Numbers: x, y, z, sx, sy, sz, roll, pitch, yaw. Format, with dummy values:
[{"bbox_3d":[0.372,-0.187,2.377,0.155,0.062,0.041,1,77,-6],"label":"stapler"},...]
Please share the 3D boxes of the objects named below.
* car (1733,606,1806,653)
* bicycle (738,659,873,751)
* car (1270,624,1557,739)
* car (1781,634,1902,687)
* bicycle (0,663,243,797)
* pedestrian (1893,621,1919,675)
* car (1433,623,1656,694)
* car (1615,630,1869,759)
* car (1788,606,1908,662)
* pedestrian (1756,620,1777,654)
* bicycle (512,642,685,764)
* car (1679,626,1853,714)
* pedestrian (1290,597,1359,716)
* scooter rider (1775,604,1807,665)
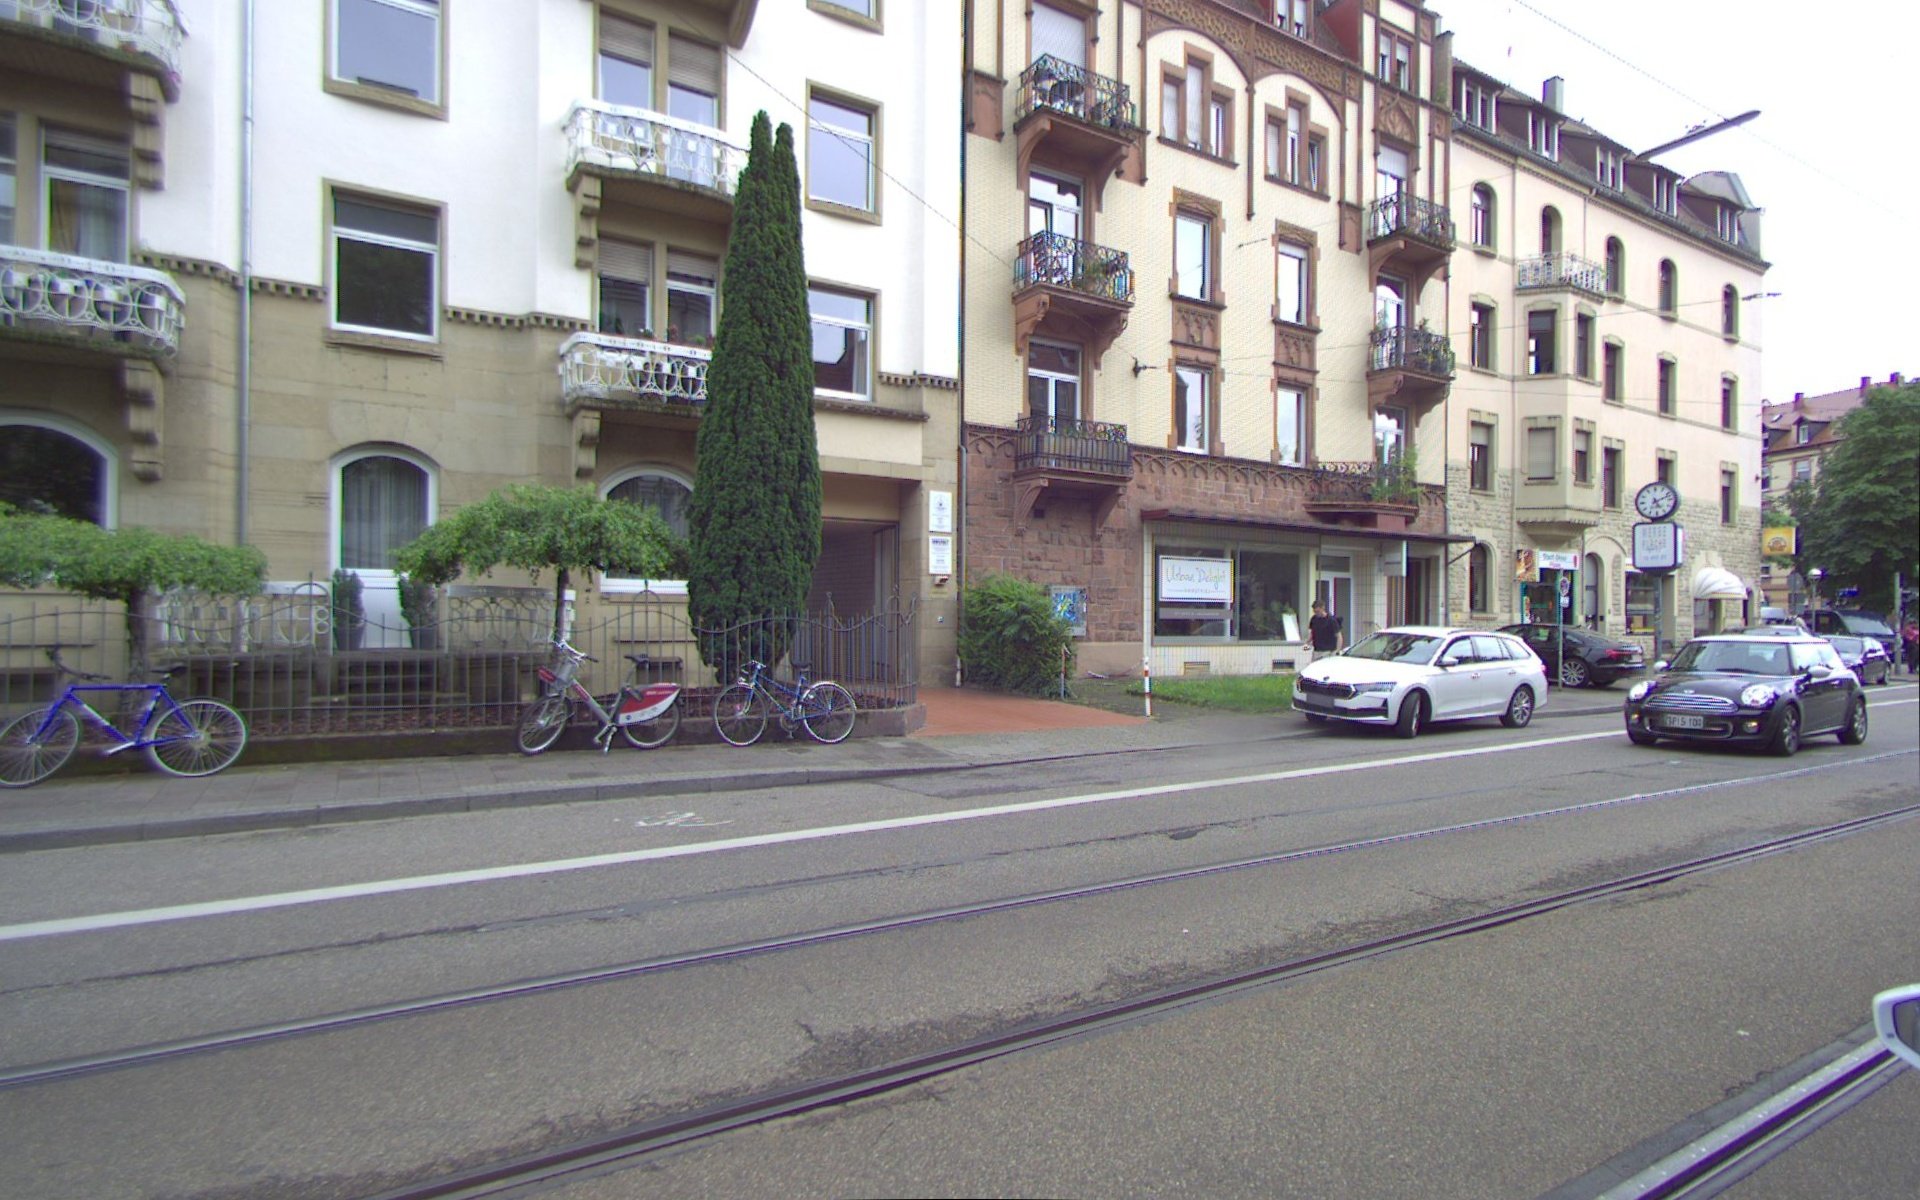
[{"bbox_3d":[46.078,1.664,57.335,2.145,2.560,5.374,0,-1,27],"label":"car"},{"bbox_3d":[-1.718,1.156,11.313,1.498,0.950,0.330,1,-1,-32],"label":"bicycle"},{"bbox_3d":[6.895,1.120,15.118,4.558,1.504,1.737,1,-1,-32],"label":"car"},{"bbox_3d":[25.932,1.730,29.523,4.086,1.380,1.638,1,1,-34],"label":"car"},{"bbox_3d":[-6.927,1.046,8.228,1.641,0.938,0.357,0,-19,-29],"label":"bicycle"},{"bbox_3d":[32.909,1.660,34.879,0.603,1.867,0.619,1,-1,-33],"label":"pedestrian"},{"bbox_3d":[14.376,1.375,24.947,1.862,1.389,4.395,1,1,-35],"label":"car"},{"bbox_3d":[10.099,1.112,12.928,3.450,1.441,1.599,1,-2,-34],"label":"car"},{"bbox_3d":[41.686,1.561,47.346,2.142,2.449,5.382,0,-1,17],"label":"car"},{"bbox_3d":[42.245,1.936,52.622,0.686,1.738,0.552,0,-1,19],"label":"pedestrian"},{"bbox_3d":[-3.581,0.991,10.053,1.613,1.116,0.381,1,-2,-43],"label":"bicycle"},{"bbox_3d":[16.836,1.402,20.896,4.847,1.632,1.868,2,-4,-40],"label":"car"},{"bbox_3d":[5.933,0.904,16.354,0.872,1.868,0.664,1,-1,-32],"label":"pedestrian"},{"bbox_3d":[28.281,1.177,34.179,0.749,2.040,0.638,1,-1,-33],"label":"scooter rider"}]
